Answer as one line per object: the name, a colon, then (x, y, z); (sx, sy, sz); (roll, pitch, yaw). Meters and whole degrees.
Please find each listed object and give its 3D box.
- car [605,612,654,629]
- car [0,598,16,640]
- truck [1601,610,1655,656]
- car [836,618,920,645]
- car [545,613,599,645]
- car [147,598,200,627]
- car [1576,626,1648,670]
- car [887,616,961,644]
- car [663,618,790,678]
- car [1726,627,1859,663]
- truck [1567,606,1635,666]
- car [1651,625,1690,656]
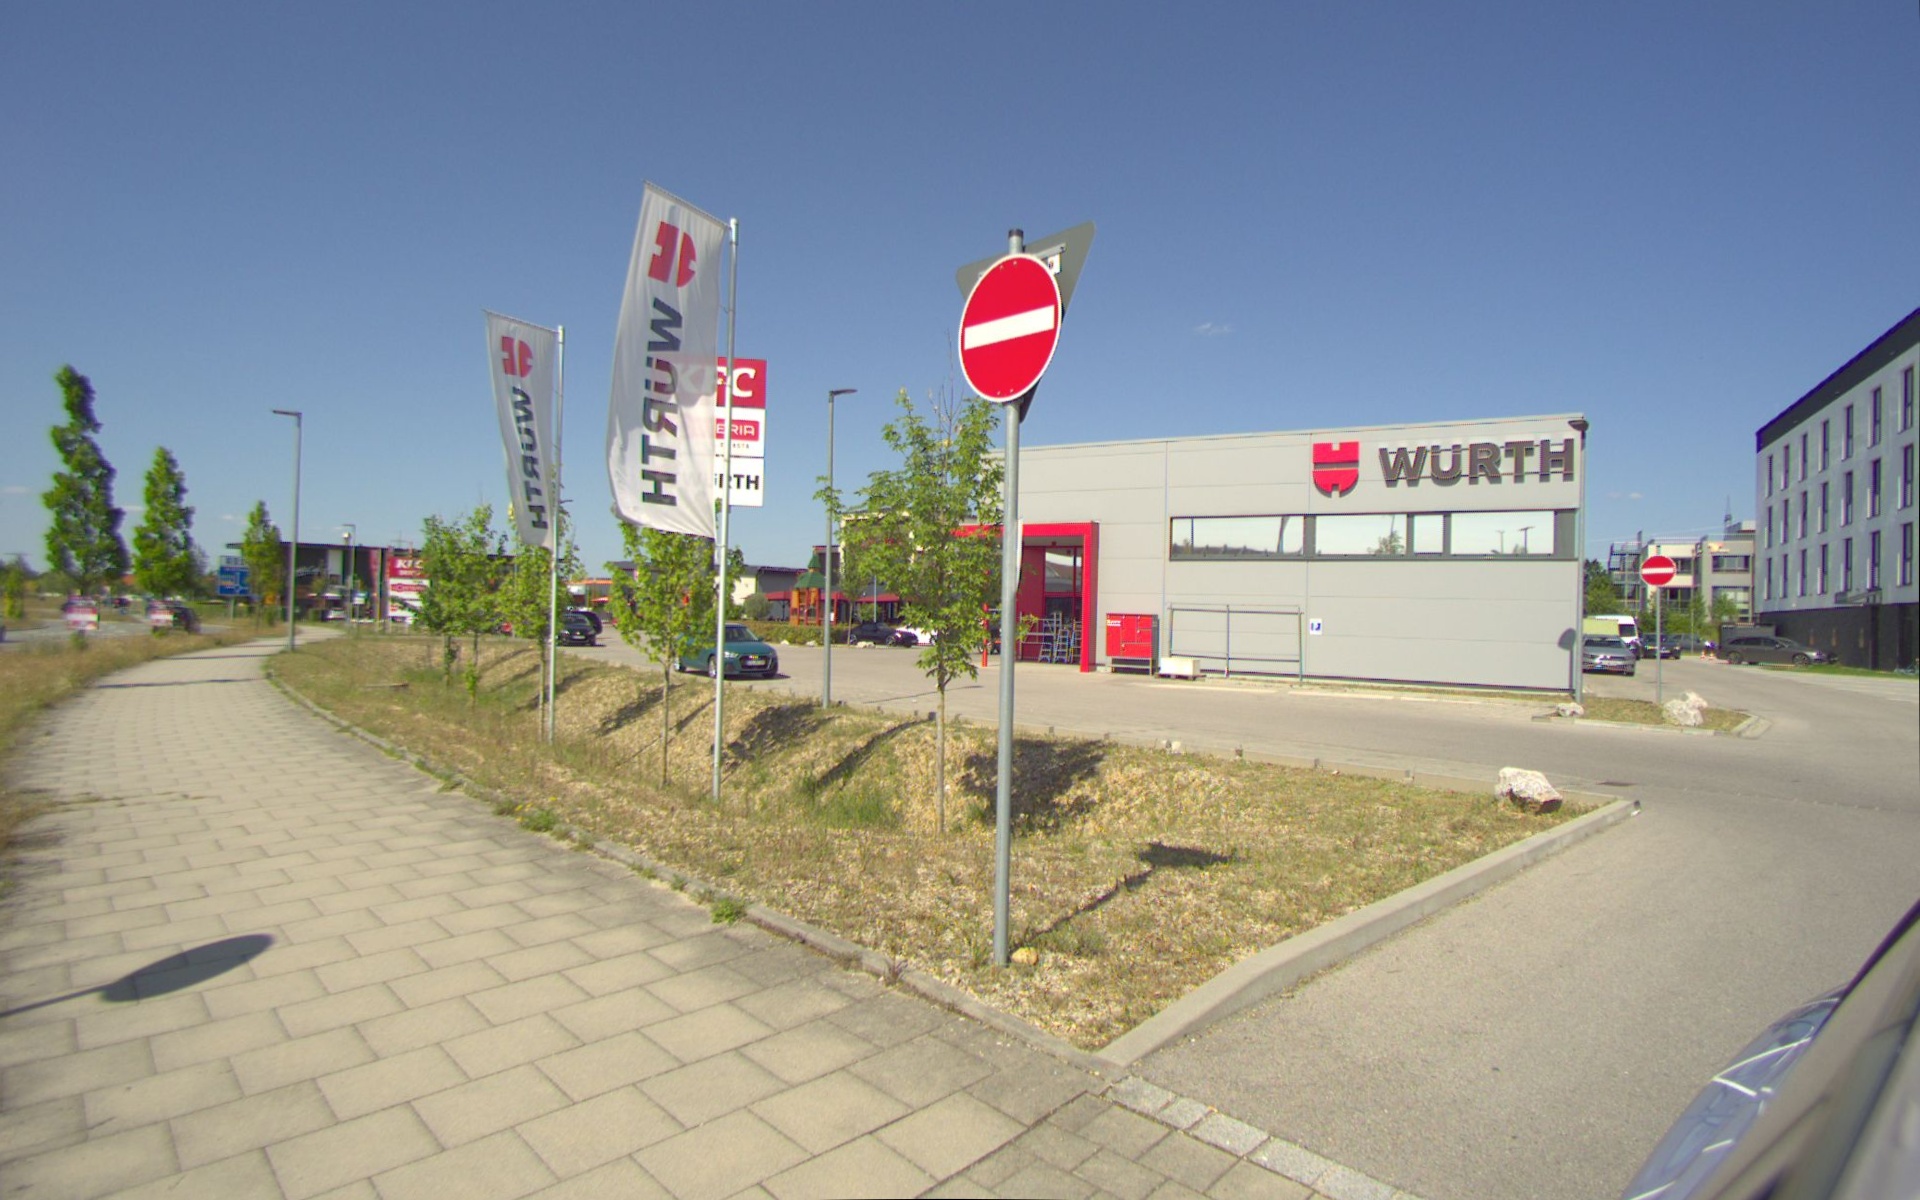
car: (-31.345, 1.950, 96.030); (1.870, 1.586, 4.037); (0, -2, 39)
car: (-36.837, 0.705, 37.394); (1.908, 1.571, 4.764); (1, -1, -31)
truck: (37.177, 1.826, 56.455); (1.982, 2.407, 5.830); (0, -1, 28)
car: (-4.332, 1.645, 53.255); (4.116, 1.355, 1.812); (0, -1, 28)
car: (-18.627, 1.367, 48.480); (1.840, 1.484, 4.369); (2, -1, -28)
car: (-43.218, 0.674, 55.674); (1.877, 1.571, 4.390); (1, -1, -32)
car: (24.548, 1.772, 38.238); (1.861, 1.527, 3.962); (0, -1, 27)
car: (-2.070, 1.716, 57.504); (3.886, 1.493, 1.781); (0, -2, 34)
car: (-6.411, 1.242, 27.478); (1.811, 1.468, 4.225); (2, -1, -36)
car: (39.550, 2.104, 48.224); (1.840, 1.527, 4.532); (1, -1, -25)
truck: (27.771, 1.525, 44.014); (2.104, 2.407, 5.830); (0, -1, 28)
car: (40.577, 2.306, 57.882); (1.707, 1.638, 3.951); (0, -1, 34)
